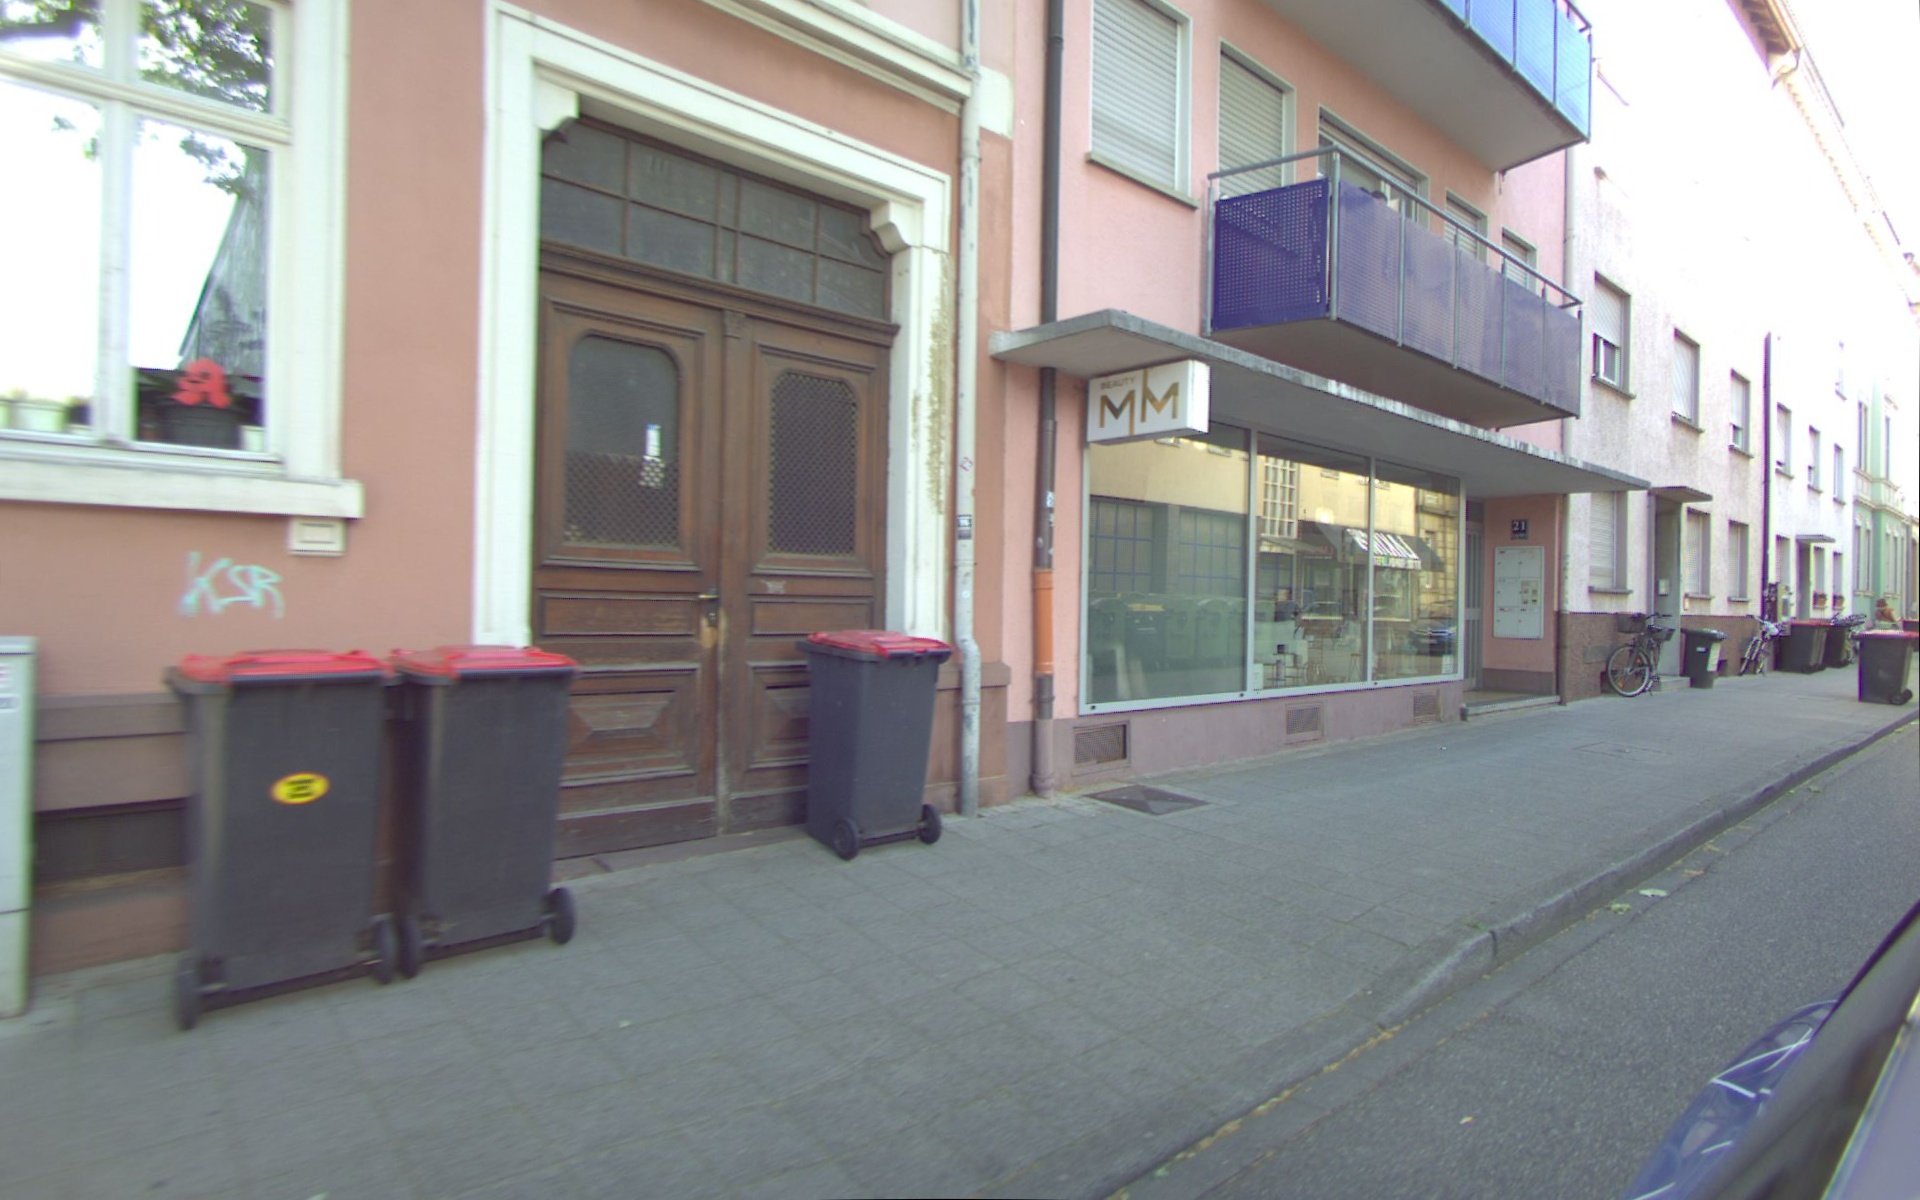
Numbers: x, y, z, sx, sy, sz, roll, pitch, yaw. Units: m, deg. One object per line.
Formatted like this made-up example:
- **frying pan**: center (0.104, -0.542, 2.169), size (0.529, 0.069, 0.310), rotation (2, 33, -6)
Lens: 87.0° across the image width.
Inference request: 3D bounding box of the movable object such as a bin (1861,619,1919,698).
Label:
- **movable object such as a bin**: center (13.846, 0.849, 14.894), size (0.680, 1.100, 0.769), rotation (0, 1, -39)

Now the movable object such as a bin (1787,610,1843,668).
- **movable object such as a bin**: center (17.532, 0.784, 20.757), size (0.628, 1.111, 0.741), rotation (0, 3, -39)

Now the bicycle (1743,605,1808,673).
- **bicycle**: center (15.374, 0.716, 19.060), size (2.040, 1.184, 0.538), rotation (1, 4, -41)

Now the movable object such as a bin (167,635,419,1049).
- **movable object such as a bin**: center (-2.185, 0.687, 3.296), size (0.623, 1.099, 0.747), rotation (0, 1, -39)

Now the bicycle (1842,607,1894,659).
- **bicycle**: center (22.647, 0.795, 25.222), size (2.222, 1.221, 0.439), rotation (0, 1, -34)

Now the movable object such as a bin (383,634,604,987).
- **movable object such as a bin**: center (-1.717, 0.691, 3.704), size (0.586, 1.086, 0.703), rotation (0, 1, -39)

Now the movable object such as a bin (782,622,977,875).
- **movable object such as a bin**: center (-0.410, 0.689, 5.121), size (0.681, 1.118, 0.730), rotation (0, 1, -43)

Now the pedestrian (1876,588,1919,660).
- **pedestrian**: center (22.971, 0.574, 24.752), size (0.672, 1.733, 0.658), rotation (0, 0, -28)

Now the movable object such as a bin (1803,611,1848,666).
- **movable object such as a bin**: center (18.387, 0.808, 21.505), size (0.559, 1.136, 0.629), rotation (0, 1, -39)

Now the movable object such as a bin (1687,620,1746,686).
- **movable object such as a bin**: center (11.830, 0.812, 15.825), size (0.670, 0.963, 0.599), rotation (0, 1, -40)

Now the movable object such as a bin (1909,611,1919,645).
- **movable object such as a bin**: center (31.648, 0.917, 33.083), size (0.661, 1.102, 0.814), rotation (0, 1, -38)

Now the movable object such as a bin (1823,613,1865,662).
- **movable object such as a bin**: center (20.408, 0.846, 23.355), size (0.592, 1.075, 0.617), rotation (1, 1, -41)

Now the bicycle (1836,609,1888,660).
- **bicycle**: center (21.848, 0.811, 24.509), size (1.833, 1.168, 0.570), rotation (0, 1, -36)

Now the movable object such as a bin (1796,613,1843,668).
- **movable object such as a bin**: center (17.962, 0.837, 21.152), size (0.582, 1.119, 0.658), rotation (1, 0, -39)

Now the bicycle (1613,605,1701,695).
- **bicycle**: center (9.749, 0.666, 14.121), size (1.885, 1.148, 0.454), rotation (0, 3, -39)

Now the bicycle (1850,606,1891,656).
- **bicycle**: center (23.559, 0.785, 26.178), size (2.120, 1.221, 0.406), rotation (0, 1, -38)

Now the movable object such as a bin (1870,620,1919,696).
- **movable object such as a bin**: center (14.369, 0.875, 15.361), size (0.691, 1.094, 0.734), rotation (0, 1, -39)
